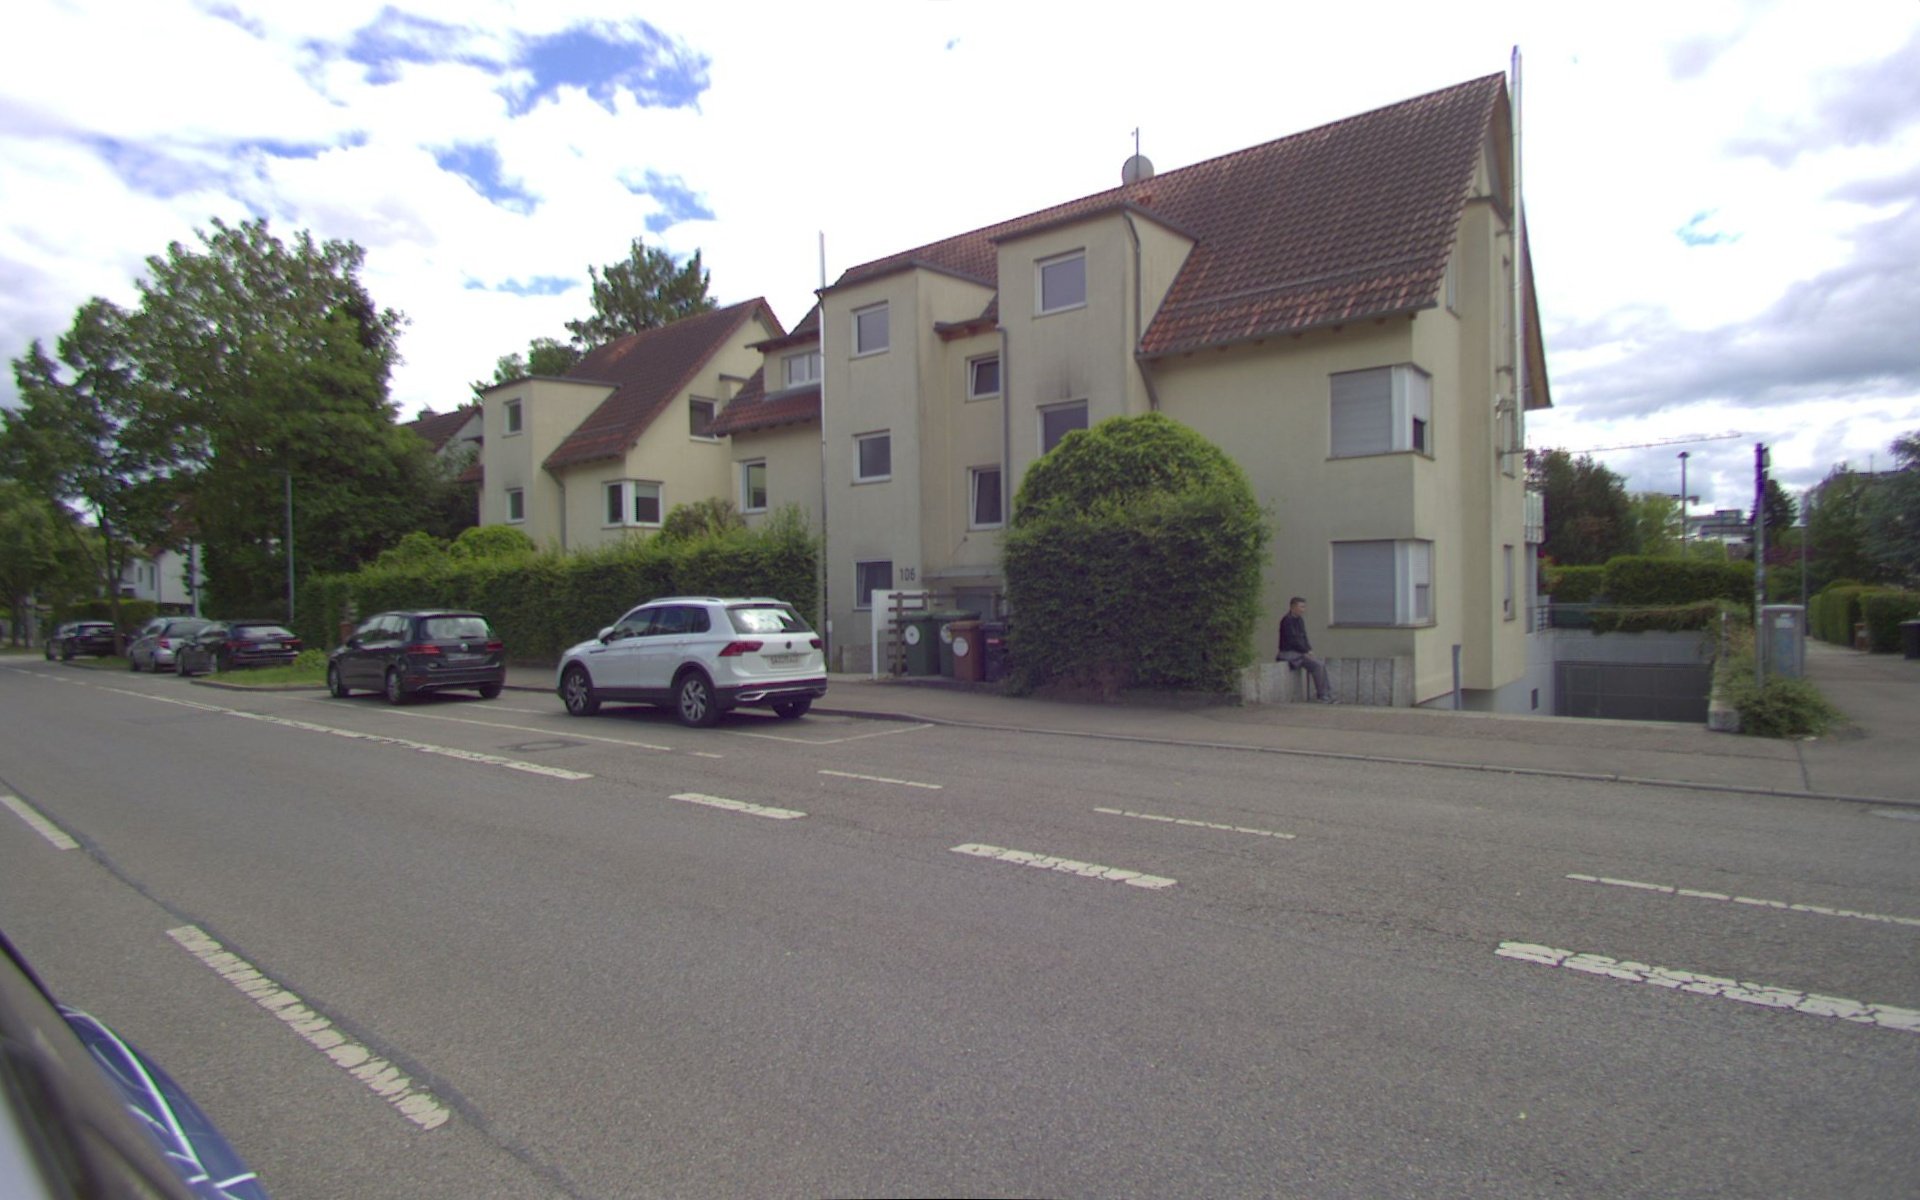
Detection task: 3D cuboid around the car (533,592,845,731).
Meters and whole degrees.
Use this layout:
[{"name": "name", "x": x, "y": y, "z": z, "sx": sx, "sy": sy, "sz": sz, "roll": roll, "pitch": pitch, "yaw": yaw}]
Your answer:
[{"name": "car", "x": -3.879, "y": 0.775, "z": 14.103, "sx": 4.579, "sy": 1.646, "sz": 1.803, "roll": -1, "pitch": -1, "yaw": 38}]

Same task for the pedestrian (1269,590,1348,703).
[{"name": "pedestrian", "x": 4.989, "y": 0.649, "z": 14.509, "sx": 0.662, "sy": 1.572, "sz": 0.837, "roll": 0, "pitch": -1, "yaw": -44}]

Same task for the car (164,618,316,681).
[{"name": "car", "x": -19.091, "y": 1.253, "z": 26.749, "sx": 4.883, "sy": 1.496, "sz": 1.975, "roll": -1, "pitch": -1, "yaw": 38}]

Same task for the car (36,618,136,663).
[{"name": "car", "x": -34.050, "y": 1.554, "z": 39.383, "sx": 5.032, "sy": 1.659, "sz": 2.074, "roll": -2, "pitch": -2, "yaw": 39}]

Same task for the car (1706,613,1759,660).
[{"name": "car", "x": 38.643, "y": 1.775, "z": 50.721, "sx": 1.996, "sy": 2.028, "sz": 3.951, "roll": -1, "pitch": 2, "yaw": 37}]

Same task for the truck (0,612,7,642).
[{"name": "truck", "x": -70.464, "y": 1.966, "z": 72.735, "sx": 5.993, "sy": 2.059, "sz": 2.397, "roll": -1, "pitch": 0, "yaw": 42}]

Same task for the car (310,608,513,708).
[{"name": "car", "x": -9.825, "y": 0.959, "z": 17.996, "sx": 4.268, "sy": 1.563, "sz": 1.660, "roll": -1, "pitch": -1, "yaw": 39}]

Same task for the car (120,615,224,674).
[{"name": "car", "x": -23.494, "y": 1.296, "z": 30.129, "sx": 3.907, "sy": 1.625, "sz": 1.701, "roll": -1, "pitch": -1, "yaw": 40}]
